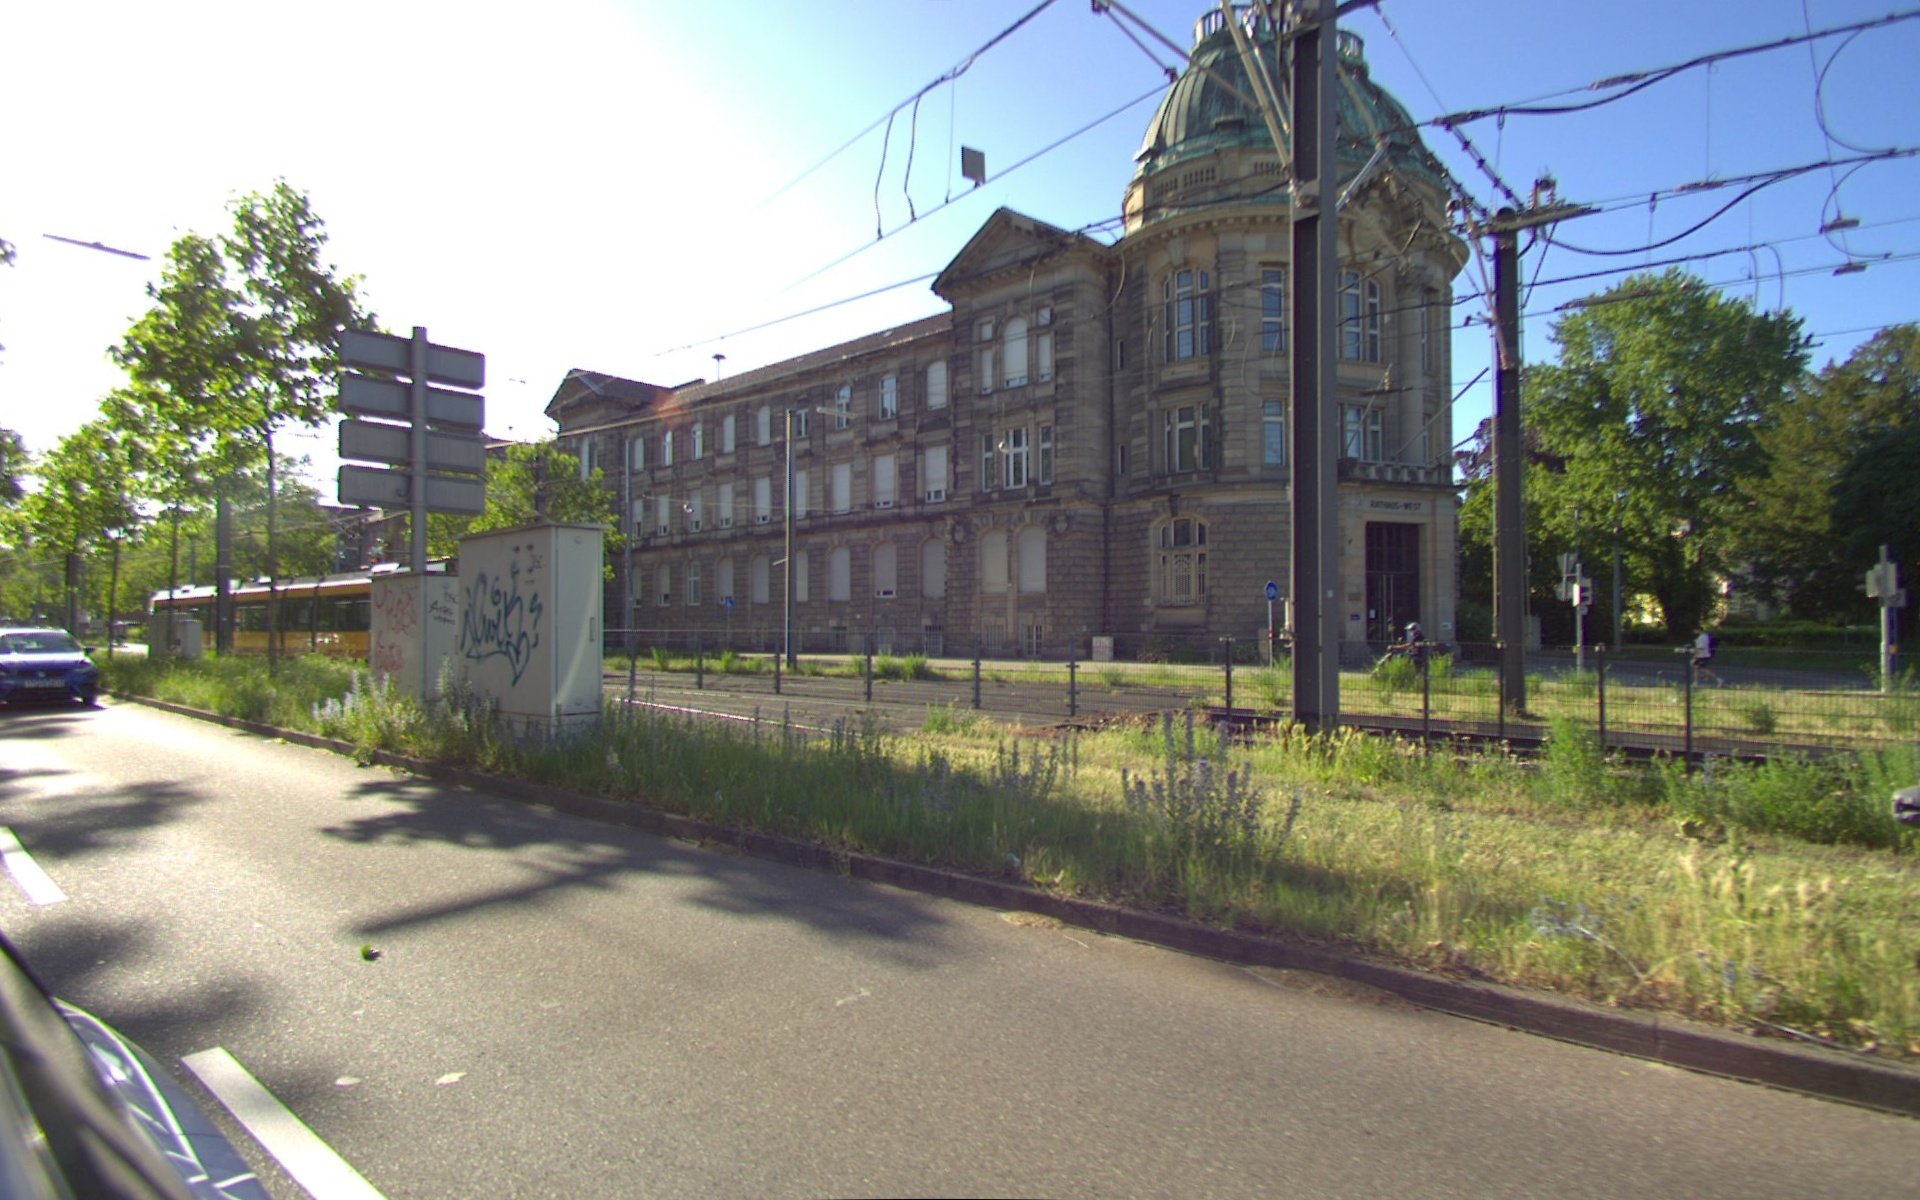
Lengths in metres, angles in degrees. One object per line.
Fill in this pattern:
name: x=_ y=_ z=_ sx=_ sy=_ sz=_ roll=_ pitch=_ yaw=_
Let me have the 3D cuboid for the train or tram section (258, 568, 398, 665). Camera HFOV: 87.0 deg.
train or tram section: x=-24.818 y=0.681 z=39.653 sx=6.054 sy=3.510 sz=2.927 roll=-2 pitch=-1 yaw=40

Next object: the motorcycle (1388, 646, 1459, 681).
motorcycle: x=11.197 y=1.535 z=24.495 sx=1.522 sy=0.789 sz=0.364 roll=-2 pitch=0 yaw=44

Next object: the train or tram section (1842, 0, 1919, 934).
train or tram section: x=9.710 y=-0.810 z=0.209 sx=14.271 sy=3.841 sz=2.897 roll=-2 pitch=0 yaw=42

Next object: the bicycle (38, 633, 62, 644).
bicycle: x=-85.932 y=3.623 z=95.588 sx=0.538 sy=1.049 sz=1.658 roll=-1 pitch=-1 yaw=10

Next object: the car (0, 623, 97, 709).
car: x=-17.739 y=1.199 z=19.125 sx=3.869 sy=1.459 sz=1.754 roll=-2 pitch=-1 yaw=43

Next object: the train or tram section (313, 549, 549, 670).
train or tram section: x=-18.133 y=0.424 z=34.136 sx=11.276 sy=3.510 sz=2.931 roll=-2 pitch=-1 yaw=40

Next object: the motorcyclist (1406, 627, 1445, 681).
motorcyclist: x=11.247 y=1.282 z=24.450 sx=0.508 sy=1.267 sz=0.692 roll=-1 pitch=-1 yaw=-45

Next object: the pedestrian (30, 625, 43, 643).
pedestrian: x=-90.192 y=3.338 z=98.861 sx=0.692 sy=1.758 sz=0.592 roll=-1 pitch=0 yaw=9

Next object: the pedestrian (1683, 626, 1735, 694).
pedestrian: x=20.333 y=1.626 z=27.490 sx=0.917 sy=1.786 sz=0.754 roll=-1 pitch=0 yaw=19

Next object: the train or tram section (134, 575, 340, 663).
train or tram section: x=-35.206 y=1.035 z=48.451 sx=21.200 sy=3.510 sz=2.933 roll=-2 pitch=-1 yaw=40

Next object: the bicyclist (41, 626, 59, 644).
bicyclist: x=-85.978 y=3.337 z=95.610 sx=0.826 sy=1.656 sz=0.966 roll=-1 pitch=0 yaw=9
